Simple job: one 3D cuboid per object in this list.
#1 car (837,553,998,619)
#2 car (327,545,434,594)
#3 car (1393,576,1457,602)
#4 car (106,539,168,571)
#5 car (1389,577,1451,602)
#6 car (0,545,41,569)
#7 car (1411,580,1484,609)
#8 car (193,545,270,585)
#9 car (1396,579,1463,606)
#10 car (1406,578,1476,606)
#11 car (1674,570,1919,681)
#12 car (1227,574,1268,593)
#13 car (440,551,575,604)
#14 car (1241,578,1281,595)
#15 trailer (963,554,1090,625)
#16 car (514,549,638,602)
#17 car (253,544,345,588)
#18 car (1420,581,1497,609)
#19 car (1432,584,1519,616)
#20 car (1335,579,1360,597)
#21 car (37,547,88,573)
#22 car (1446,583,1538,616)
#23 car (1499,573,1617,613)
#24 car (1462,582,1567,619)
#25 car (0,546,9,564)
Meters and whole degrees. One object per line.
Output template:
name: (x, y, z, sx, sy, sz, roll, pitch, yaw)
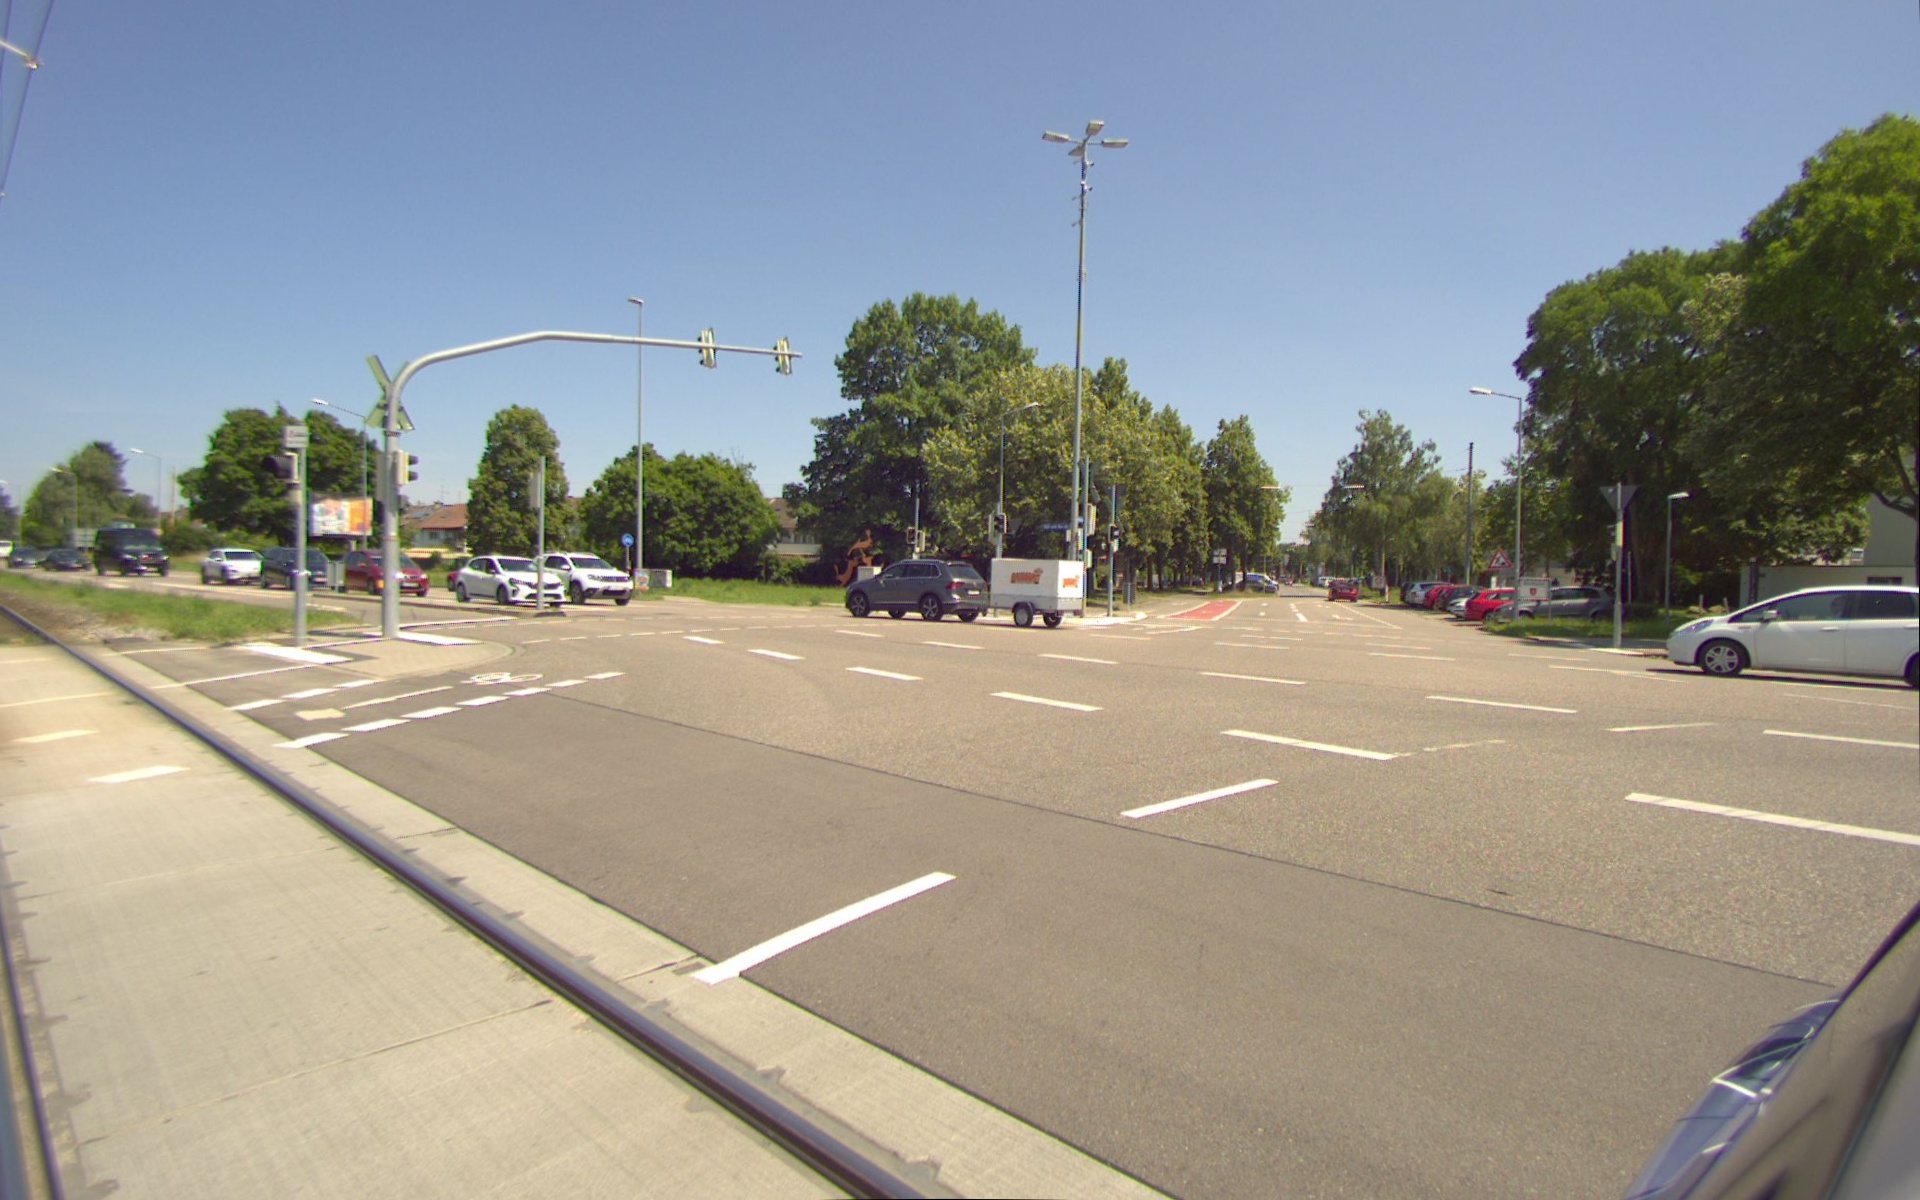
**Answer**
car: (-1.231, -0.419, 27.889, 4.387, 1.679, 1.707, 2, 1, 39)
car: (-20.128, -1.063, 35.076, 4.393, 1.596, 1.848, 2, 1, 41)
car: (29.310, -0.697, 63.850, 3.444, 1.600, 1.575, 0, -1, 17)
car: (-44.253, -2.436, 54.389, 4.393, 1.596, 1.848, 2, 1, 41)
car: (29.901, -0.668, 65.881, 3.444, 1.600, 1.575, 0, -1, 17)
car: (-67.777, -3.077, 72.844, 4.393, 1.596, 1.848, 2, 1, 41)
car: (27.174, -0.279, 56.509, 3.444, 1.574, 1.575, 0, -1, 17)
car: (-31.594, -1.526, 43.872, 4.393, 1.596, 1.705, 2, 1, 41)
car: (28.196, -0.445, 60.908, 3.444, 1.574, 1.575, 0, -1, 17)
car: (27.886, -0.463, 58.798, 3.444, 1.574, 1.575, 0, -1, 17)
car: (13.502, 0.361, 15.674, 3.879, 1.523, 1.707, 3, 1, 39)
car: (27.677, -1.553, 97.496, 3.722, 1.750, 1.752, 0, -1, 17)
car: (-13.124, -0.661, 29.243, 4.393, 1.406, 1.848, 2, 1, 41)
car: (27.463, -1.189, 92.277, 3.444, 1.495, 1.575, 0, -1, 17)
trailer: (1.665, -0.294, 25.619, 2.924, 1.675, 1.389, 2, 1, 39)
car: (-12.452, -0.804, 32.675, 4.393, 1.596, 1.848, 2, 1, 41)
car: (-25.826, -1.320, 39.495, 4.393, 1.596, 1.848, 2, 1, 41)
car: (26.490, -0.251, 53.832, 3.444, 1.447, 1.575, 0, -1, 17)
car: (24.391, 0.001, 48.003, 3.444, 1.447, 1.575, 0, -1, 17)
car: (28.745, -0.866, 75.138, 1.564, 1.243, 3.470, 0, -1, 19)
car: (-57.698, -2.569, 65.056, 4.393, 1.596, 1.848, 2, 1, 41)
car: (23.946, -0.005, 45.668, 3.444, 1.447, 1.575, 0, -1, 17)
car: (22.112, -0.245, 37.553, 3.441, 1.447, 1.577, 0, -1, 15)
car: (22.407, 0.026, 41.024, 3.444, 1.447, 1.575, 0, -1, 17)
car: (-100.394, -4.699, 105.088, 3.979, 1.777, 1.748, 2, 0, 38)
